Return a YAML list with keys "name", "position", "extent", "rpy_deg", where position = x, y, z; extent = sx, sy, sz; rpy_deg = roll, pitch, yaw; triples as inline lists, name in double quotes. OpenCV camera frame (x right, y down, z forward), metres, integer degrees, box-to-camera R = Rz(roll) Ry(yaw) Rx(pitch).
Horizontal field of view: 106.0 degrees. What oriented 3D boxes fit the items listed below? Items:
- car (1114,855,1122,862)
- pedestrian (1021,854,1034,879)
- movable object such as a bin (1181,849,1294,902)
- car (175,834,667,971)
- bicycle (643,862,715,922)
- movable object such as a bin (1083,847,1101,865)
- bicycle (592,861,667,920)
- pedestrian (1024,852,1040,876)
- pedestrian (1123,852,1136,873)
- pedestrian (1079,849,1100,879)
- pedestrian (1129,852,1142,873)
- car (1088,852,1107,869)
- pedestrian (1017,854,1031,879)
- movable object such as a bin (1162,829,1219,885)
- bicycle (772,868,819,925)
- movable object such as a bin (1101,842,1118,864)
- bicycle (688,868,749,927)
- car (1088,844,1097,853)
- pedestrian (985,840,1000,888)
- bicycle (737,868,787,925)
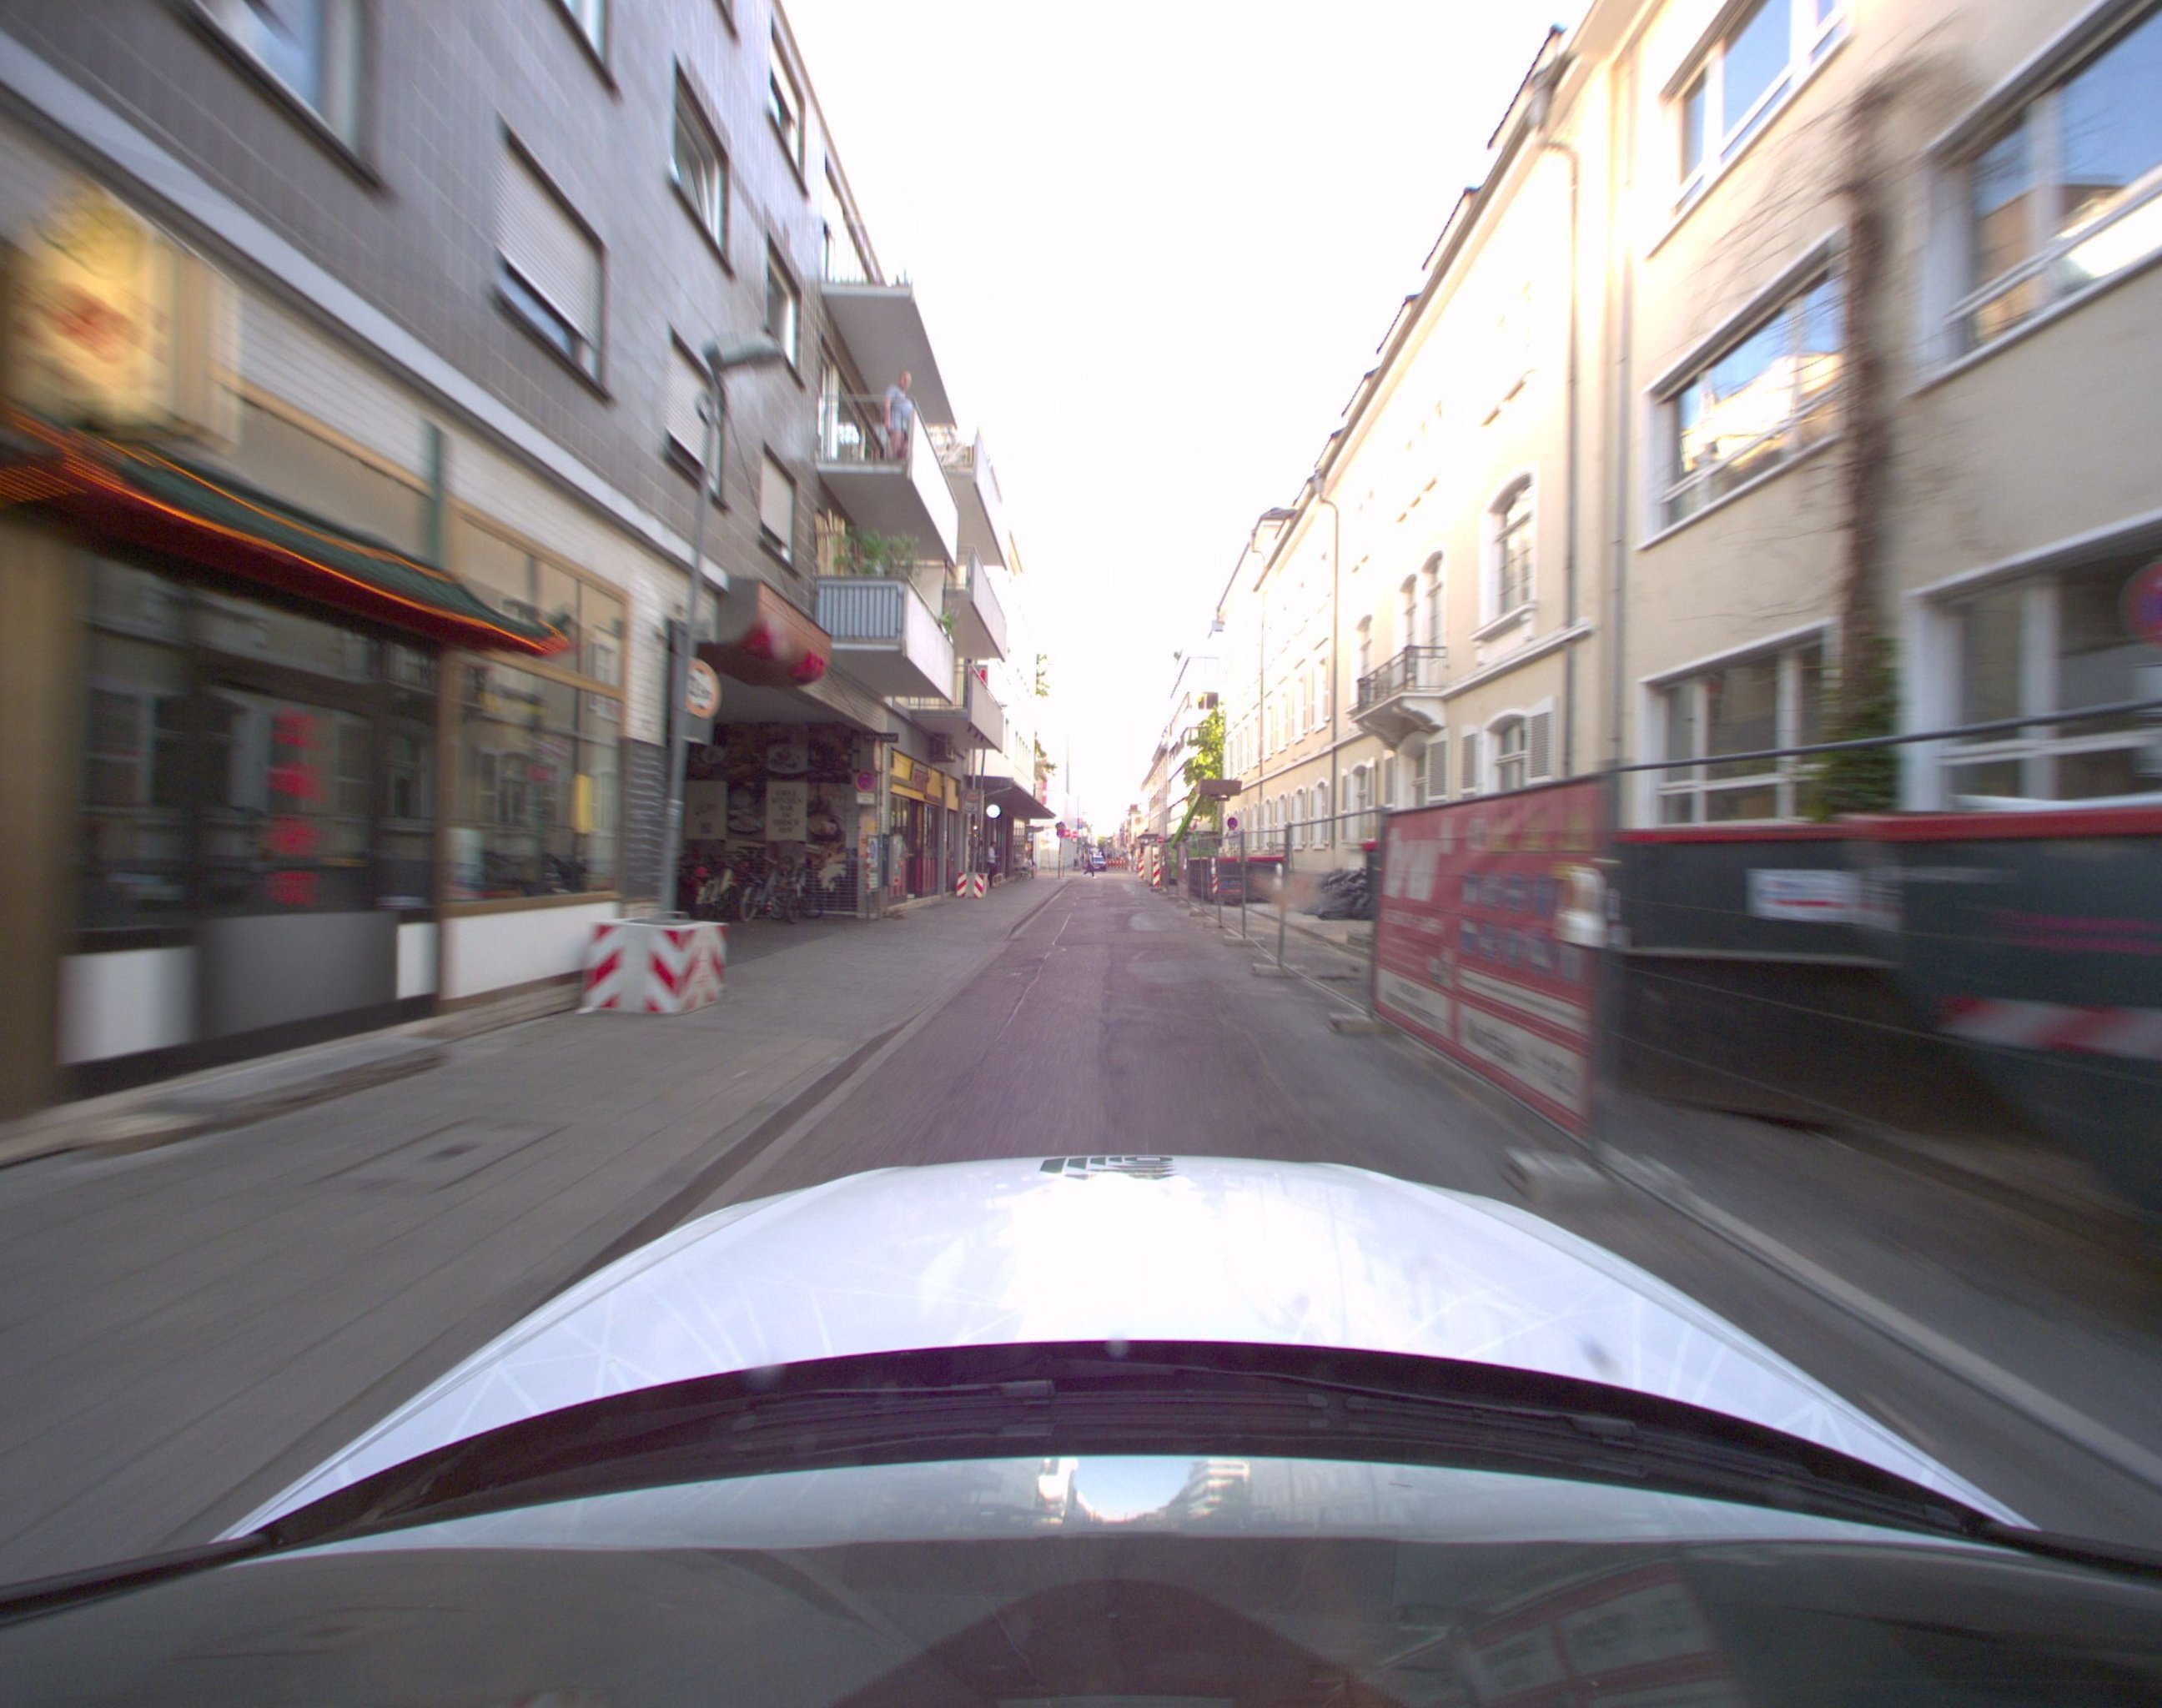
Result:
- name: "car"
  position: [9.933, 1.130, 217.045]
  extent: [1.986, 1.776, 4.001]
  rpy_deg: [0, 0, 2]
- name: "pedestrian"
  position: [-2.809, 0.634, 42.770]
  extent: [0.571, 1.275, 0.714]
  rpy_deg: [3, 0, 1]
- name: "movable object such as a bin"
  position: [5.473, 0.686, 29.769]
  extent: [2.726, 1.638, 7.552]
  rpy_deg: [1, 0, 1]
- name: "car"
  position: [-7.761, 0.533, 9.963]
  extent: [4.301, 1.422, 2.020]
  rpy_deg: [1, 0, 0]
- name: "bicycle"
  position: [-7.298, 0.668, 14.871]
  extent: [0.376, 0.961, 1.797]
  rpy_deg: [1, 1, 1]
- name: "movable object such as a bin"
  position: [1.294, 0.235, 92.926]
  extent: [1.986, 2.013, 4.002]
  rpy_deg: [0, 0, 2]
- name: "bicycle"
  position: [-8.282, 0.647, 15.015]
  extent: [0.376, 0.961, 1.796]
  rpy_deg: [1, 1, 0]
- name: "pedestrian"
  position: [-2.632, 0.541, 43.781]
  extent: [0.699, 1.275, 0.714]
  rpy_deg: [3, 0, 1]
- name: "pedestrian"
  position: [3.880, 0.677, 64.630]
  extent: [0.614, 1.627, 0.863]
  rpy_deg: [0, 0, -39]
- name: "pedestrian"
  position: [0.521, 0.595, 50.307]
  extent: [1.075, 1.835, 0.693]
  rpy_deg: [0, 0, -20]
- name: "pedestrian"
  position: [4.386, 0.676, 65.028]
  extent: [0.614, 1.627, 0.863]
  rpy_deg: [0, 0, -39]
- name: "car"
  position: [1.540, 0.623, 77.708]
  extent: [1.625, 1.550, 3.140]
  rpy_deg: [0, 0, -2]
- name: "pedestrian"
  position: [-2.932, 0.641, 41.710]
  extent: [0.571, 1.275, 0.714]
  rpy_deg: [3, 0, 1]
- name: "movable object such as a bin"
  position: [5.795, 0.167, 43.834]
  extent: [2.595, 2.839, 4.452]
  rpy_deg: [0, 0, 2]
- name: "bicycle"
  position: [-5.345, 0.770, 15.315]
  extent: [0.376, 0.961, 1.501]
  rpy_deg: [1, 1, -1]
- name: "movable object such as a bin"
  position: [3.601, -0.083, 103.148]
  extent: [2.149, 2.664, 4.574]
  rpy_deg: [1, 0, 1]
- name: "bicycle"
  position: [-6.706, 0.773, 15.139]
  extent: [0.376, 0.961, 1.795]
  rpy_deg: [1, 1, -1]
- name: "car"
  position: [2.430, -1.179, 172.796]
  extent: [1.986, 1.776, 4.001]
  rpy_deg: [0, 0, 2]
- name: "pedestrian"
  position: [-3.395, 0.367, 31.298]
  extent: [0.529, 1.834, 0.562]
  rpy_deg: [0, 0, -5]
- name: "bicycle"
  position: [-6.019, 0.771, 15.407]
  extent: [0.376, 0.961, 1.501]
  rpy_deg: [1, 1, -1]
